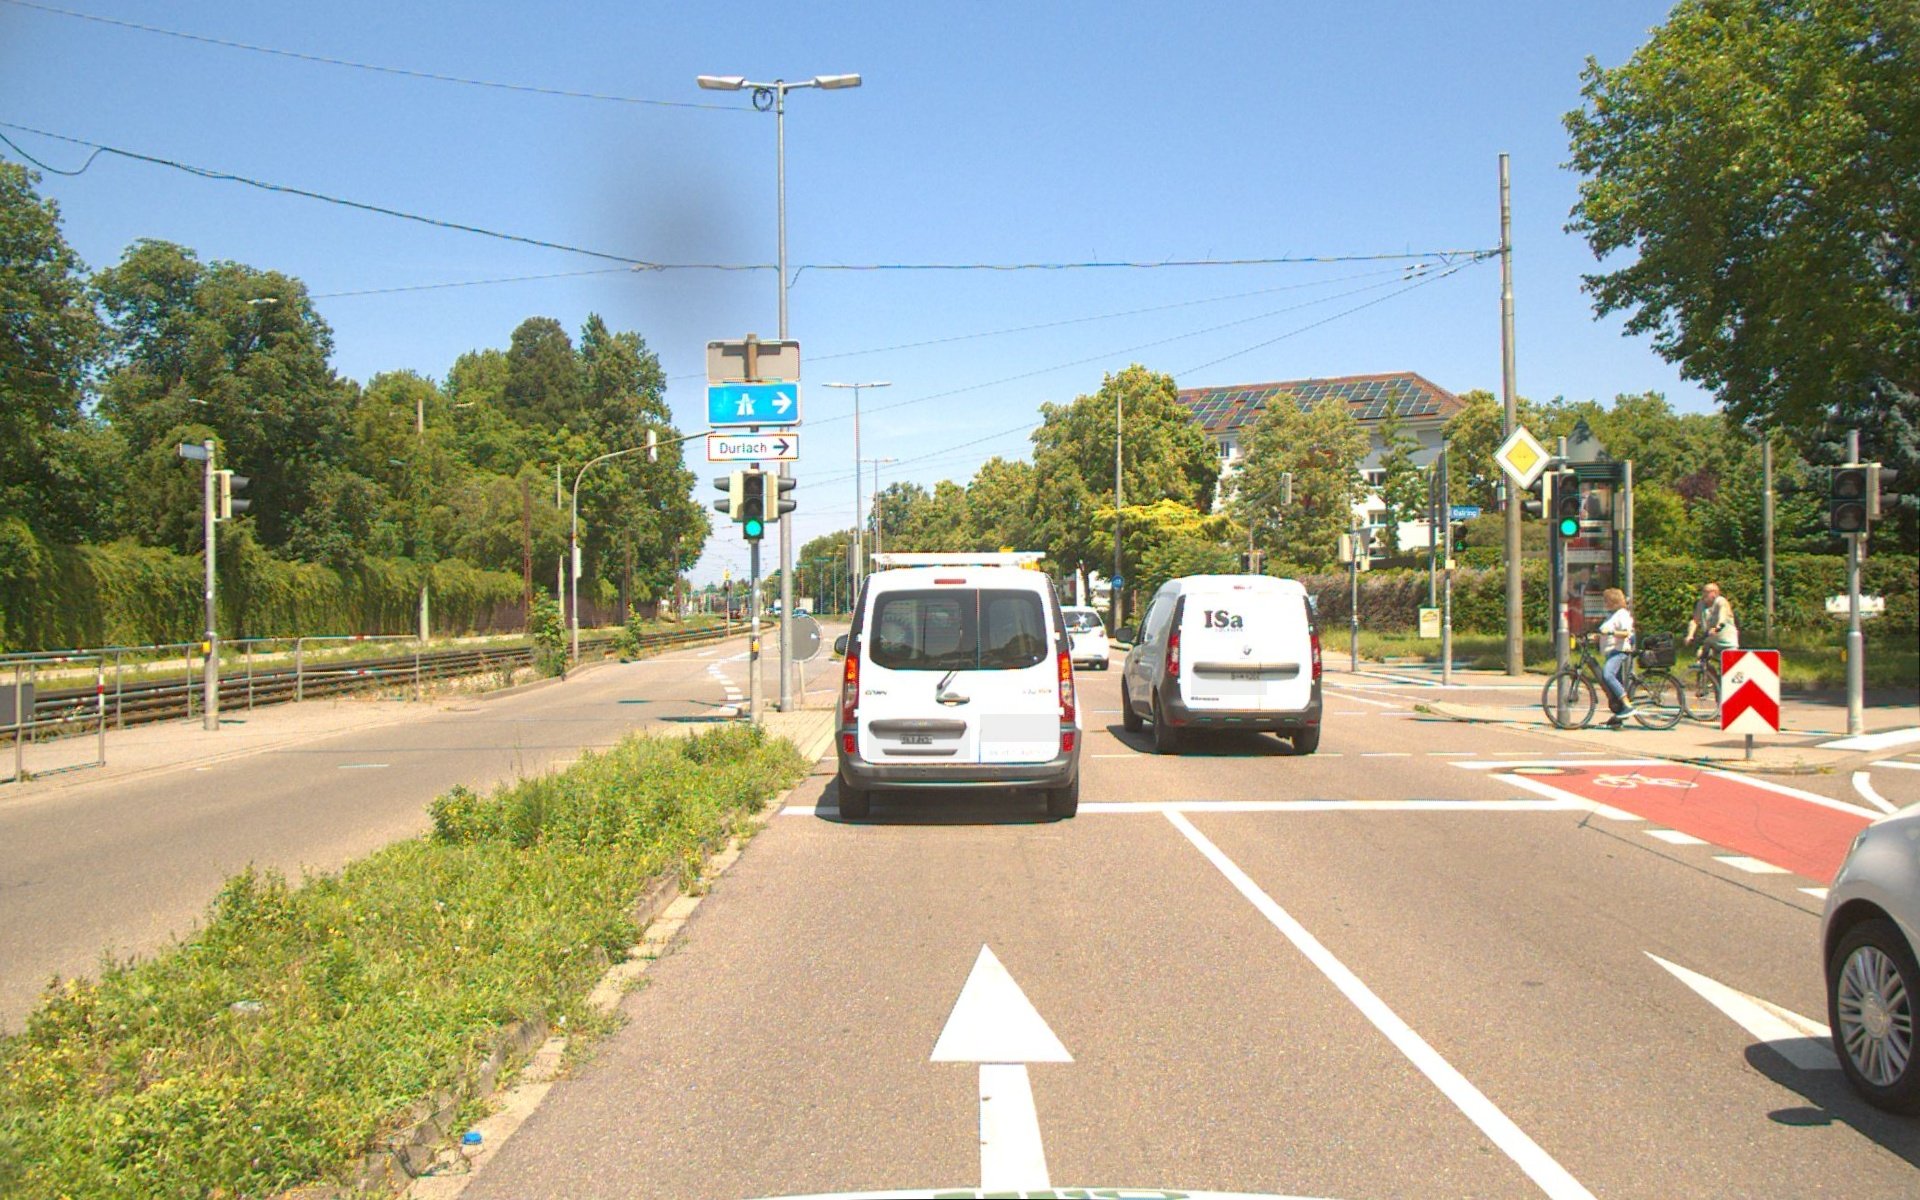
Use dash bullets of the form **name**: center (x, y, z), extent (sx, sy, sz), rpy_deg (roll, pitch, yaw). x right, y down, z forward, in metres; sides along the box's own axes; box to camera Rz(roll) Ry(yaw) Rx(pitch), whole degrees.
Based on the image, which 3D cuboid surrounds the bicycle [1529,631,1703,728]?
- **bicycle**: center (8.063, 0.960, 20.412), extent (1.827, 1.144, 0.895), rpy_deg (0, -1, 7)

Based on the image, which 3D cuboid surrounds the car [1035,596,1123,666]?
- **car**: center (2.881, 0.718, 40.906), extent (1.798, 1.596, 3.999), rpy_deg (1, 0, -1)

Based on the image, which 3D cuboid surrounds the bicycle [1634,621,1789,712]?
- **bicycle**: center (10.165, 0.878, 22.360), extent (1.925, 1.179, 0.888), rpy_deg (0, -1, -26)

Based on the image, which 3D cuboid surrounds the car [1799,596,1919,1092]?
- **car**: center (3.657, 0.744, 3.898), extent (1.577, 1.473, 3.435), rpy_deg (1, 0, -1)

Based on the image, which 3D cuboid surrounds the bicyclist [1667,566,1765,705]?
- **bicyclist**: center (10.202, 0.470, 22.343), extent (0.715, 1.819, 0.969), rpy_deg (0, -1, -25)

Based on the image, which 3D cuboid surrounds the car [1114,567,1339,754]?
- **car**: center (2.817, 0.610, 18.307), extent (1.693, 1.820, 4.062), rpy_deg (1, 0, -2)

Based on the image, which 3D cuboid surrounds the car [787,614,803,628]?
- **car**: center (-18.612, 2.327, 186.689), extent (1.665, 1.539, 4.060), rpy_deg (-1, 0, -7)

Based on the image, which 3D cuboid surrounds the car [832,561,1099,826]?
- **car**: center (-0.001, 0.632, 13.334), extent (1.784, 1.770, 4.395), rpy_deg (1, 0, -1)

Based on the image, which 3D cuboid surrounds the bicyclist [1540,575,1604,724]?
- **bicyclist**: center (7.683, 0.613, 20.794), extent (0.564, 1.819, 0.768), rpy_deg (1, -1, 7)
